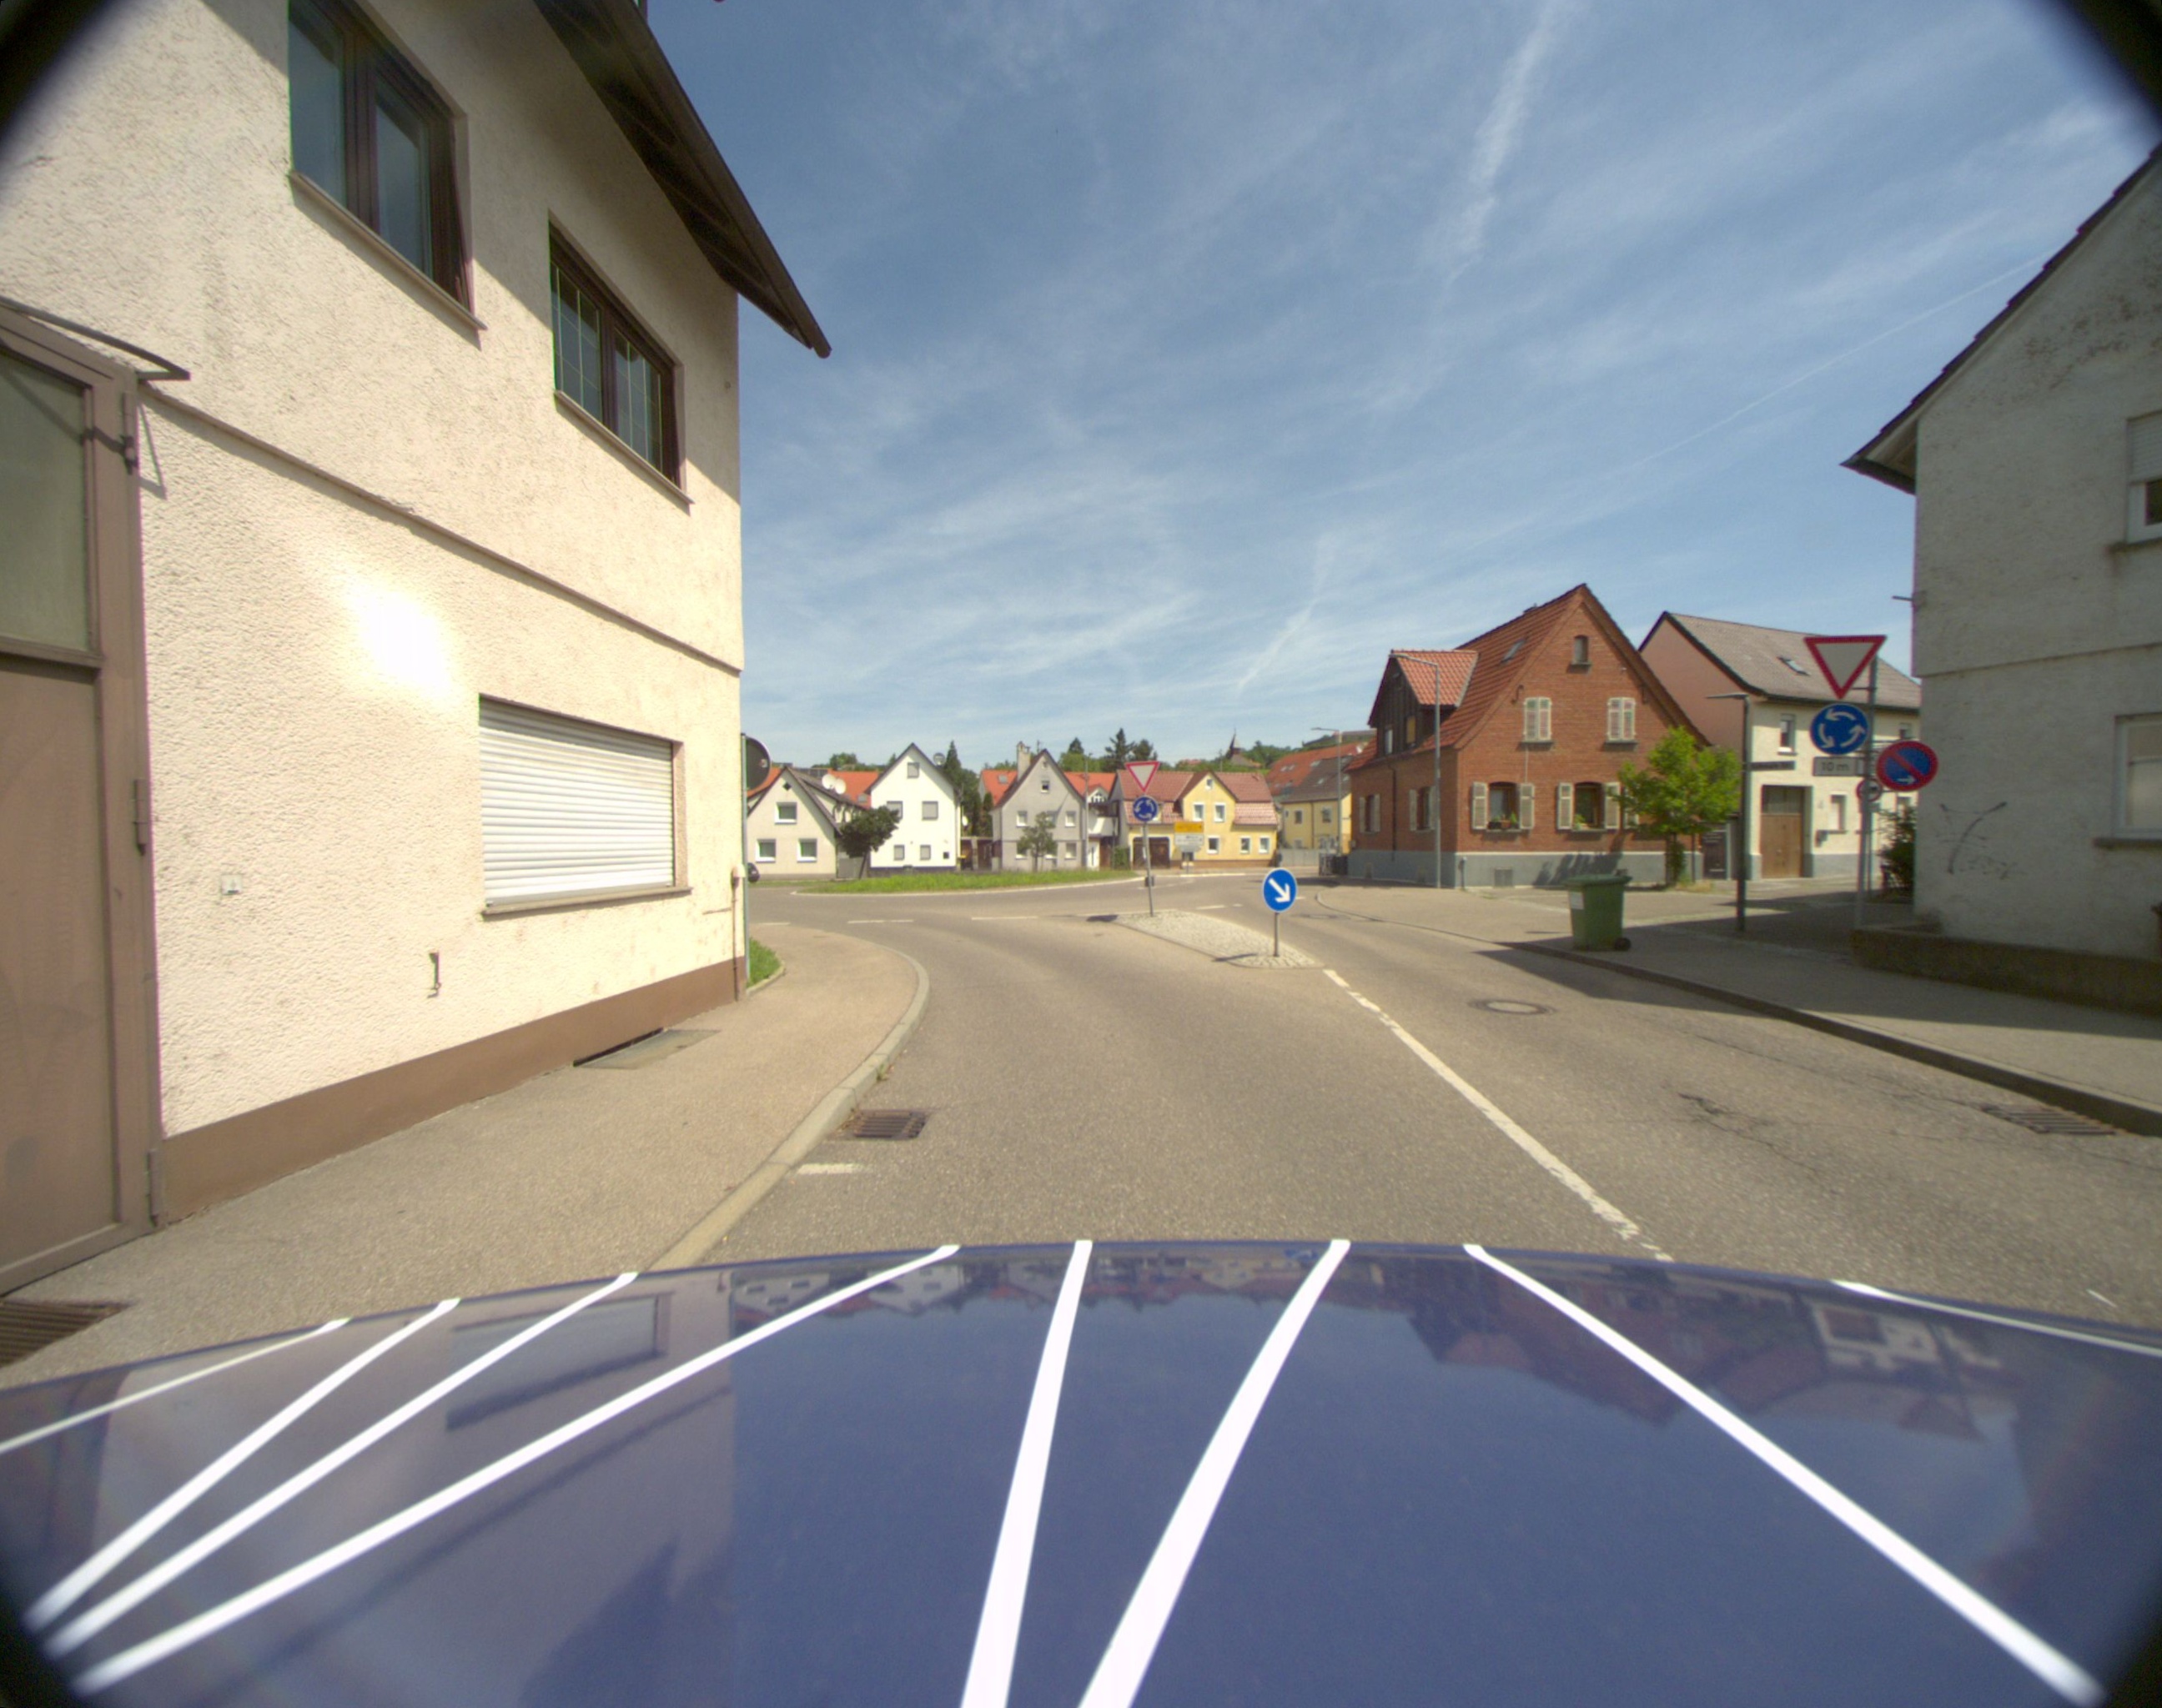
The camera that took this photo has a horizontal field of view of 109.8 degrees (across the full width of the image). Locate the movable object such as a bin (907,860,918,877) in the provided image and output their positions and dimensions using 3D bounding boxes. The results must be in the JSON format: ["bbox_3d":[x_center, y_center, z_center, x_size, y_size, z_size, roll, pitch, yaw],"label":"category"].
[{"bbox_3d":[-10.436,0.901,47.077,0.580,1.042,0.902,-2,1,-18],"label":"movable object such as a bin"}]

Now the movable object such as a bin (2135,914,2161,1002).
[{"bbox_3d":[10.655,1.009,7.229,0.487,0.801,0.645,-2,1,-25],"label":"movable object such as a bin"}]

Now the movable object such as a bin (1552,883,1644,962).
[{"bbox_3d":[7.316,0.959,10.795,0.810,1.039,0.827,-1,1,10],"label":"movable object such as a bin"}]

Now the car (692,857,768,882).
[{"bbox_3d":[-21.873,0.944,47.428,3.844,1.433,1.777,0,4,-1],"label":"car"}]
